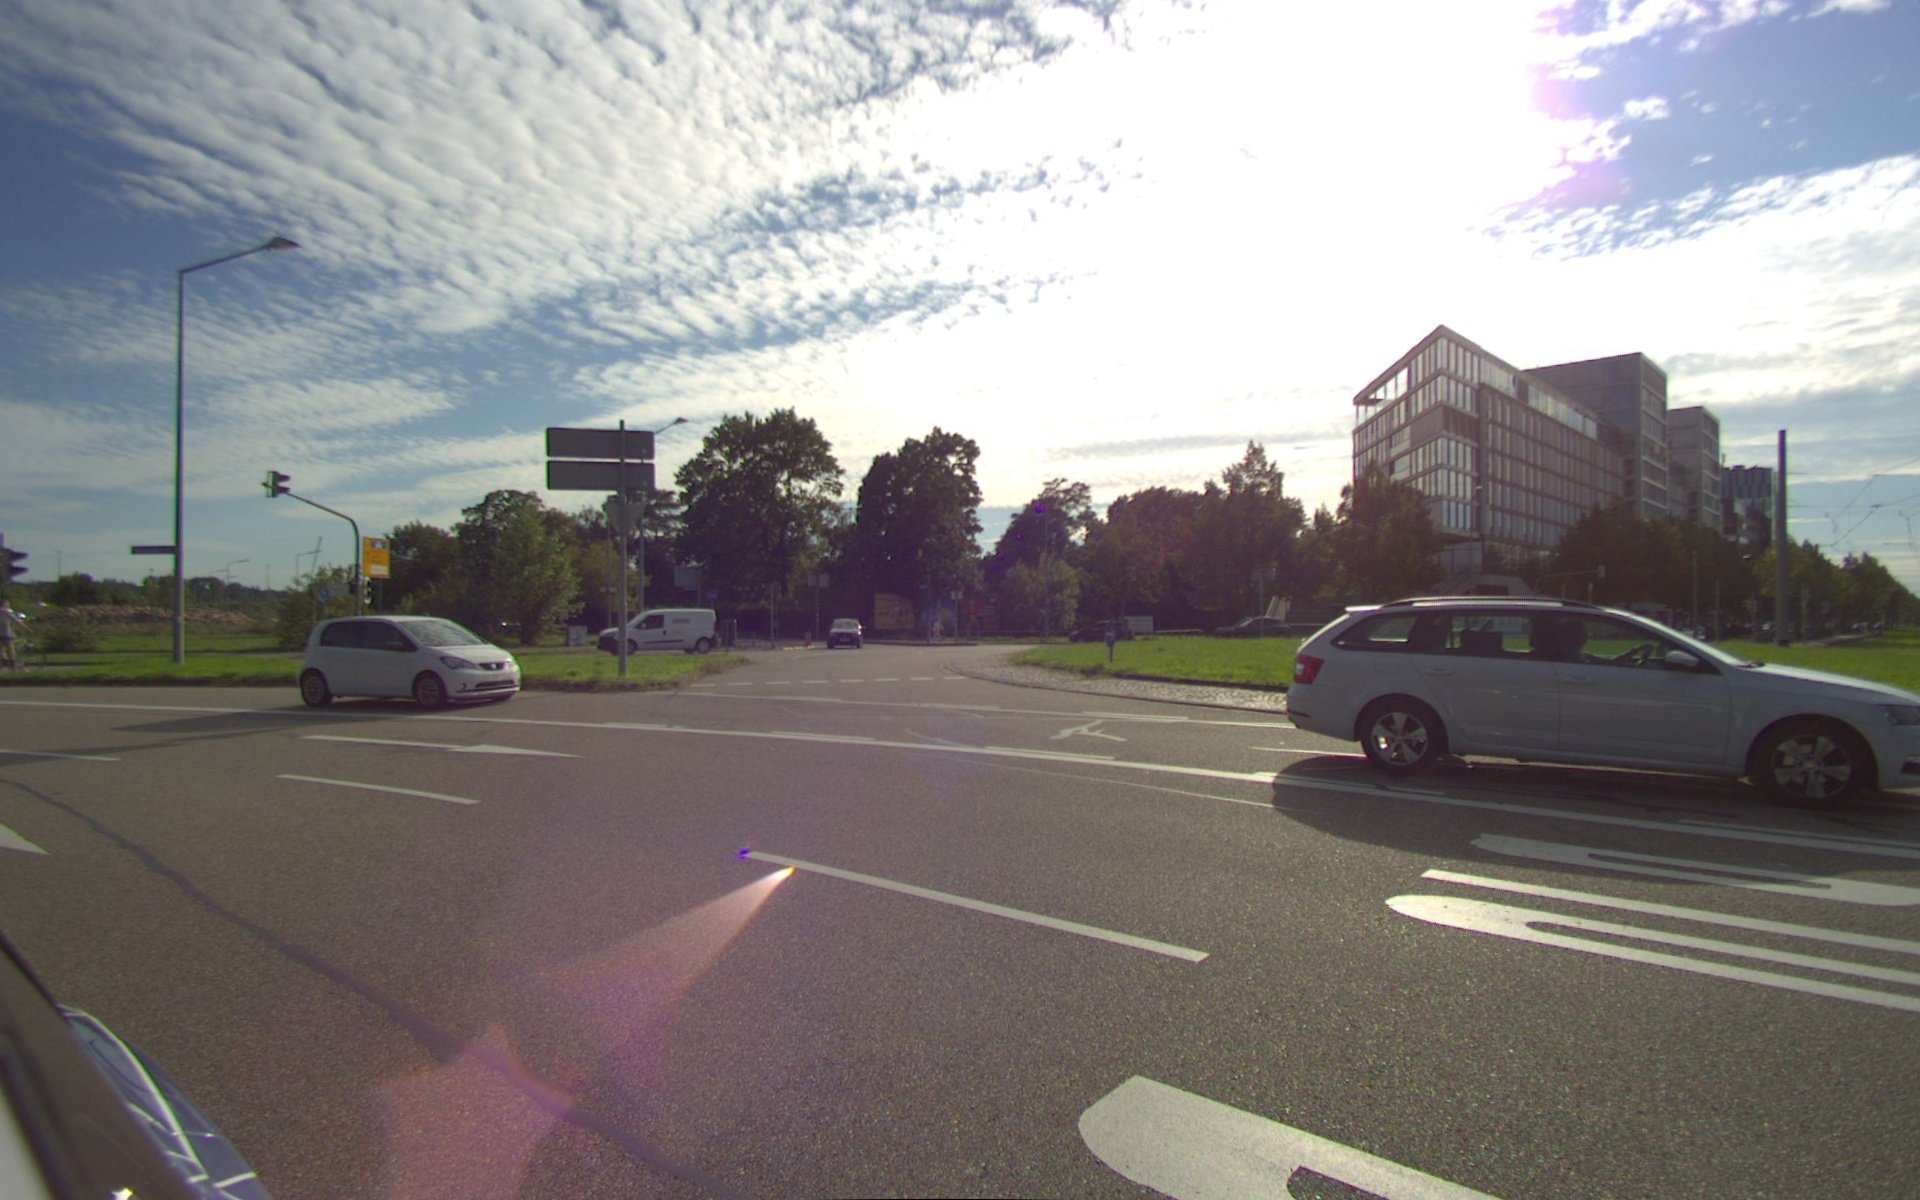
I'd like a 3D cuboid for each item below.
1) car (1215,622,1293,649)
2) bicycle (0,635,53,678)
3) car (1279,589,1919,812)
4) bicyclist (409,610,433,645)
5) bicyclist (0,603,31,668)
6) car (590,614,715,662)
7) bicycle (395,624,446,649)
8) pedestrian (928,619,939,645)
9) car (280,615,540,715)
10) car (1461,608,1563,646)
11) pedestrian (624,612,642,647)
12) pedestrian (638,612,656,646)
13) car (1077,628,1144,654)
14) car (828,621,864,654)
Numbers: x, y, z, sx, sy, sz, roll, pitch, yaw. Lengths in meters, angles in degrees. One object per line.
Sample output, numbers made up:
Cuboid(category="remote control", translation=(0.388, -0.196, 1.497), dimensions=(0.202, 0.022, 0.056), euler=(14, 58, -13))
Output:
Cuboid(category="car", translation=(16.921, 2.058, 58.265), dimensions=(3.928, 1.513, 1.690), euler=(0, -3, -12))
Cuboid(category="bicycle", translation=(-23.616, 1.391, 24.806), dimensions=(0.988, 1.015, 1.961), euler=(0, -1, 0))
Cuboid(category="car", translation=(5.243, 0.688, 8.407), dimensions=(4.626, 1.456, 1.835), euler=(-1, -1, 34))
Cuboid(category="bicyclist", translation=(-22.886, 1.154, 42.956), dimensions=(0.611, 1.456, 0.688), euler=(1, -1, 42))
Cuboid(category="bicyclist", translation=(-23.624, 0.853, 24.745), dimensions=(0.984, 1.567, 0.865), euler=(0, -1, 1))
Cuboid(category="car", translation=(-12.296, 1.536, 40.599), dimensions=(4.485, 1.839, 1.690), euler=(2, -4, -35))
Cuboid(category="bicycle", translation=(-22.897, 1.542, 42.957), dimensions=(0.611, 0.996, 1.812), euler=(0, -1, 42))
Cuboid(category="pedestrian", translation=(-1.748, 2.083, 66.072), dimensions=(0.505, 1.637, 0.541), euler=(-1, -2, 35))
Cuboid(category="car", translation=(-9.029, 1.020, 16.677), dimensions=(3.629, 1.475, 1.757), euler=(-1, 0, 17))
Cuboid(category="car", translation=(34.555, 1.718, 63.339), dimensions=(5.920, 2.281, 2.072), euler=(1, -3, -18))
Cuboid(category="pedestrian", translation=(-18.864, 1.682, 58.362), dimensions=(0.851, 1.930, 0.900), euler=(0, 1, -26))
Cuboid(category="pedestrian", translation=(-18.238, 1.675, 58.915), dimensions=(0.851, 1.930, 0.900), euler=(0, 1, -26))
Cuboid(category="car", translation=(9.062, 2.484, 61.014), dimensions=(3.948, 1.513, 1.681), euler=(-1, -3, 9))
Cuboid(category="car", translation=(-5.574, 1.804, 49.809), dimensions=(1.660, 1.512, 3.998), euler=(0, 0, -5))
